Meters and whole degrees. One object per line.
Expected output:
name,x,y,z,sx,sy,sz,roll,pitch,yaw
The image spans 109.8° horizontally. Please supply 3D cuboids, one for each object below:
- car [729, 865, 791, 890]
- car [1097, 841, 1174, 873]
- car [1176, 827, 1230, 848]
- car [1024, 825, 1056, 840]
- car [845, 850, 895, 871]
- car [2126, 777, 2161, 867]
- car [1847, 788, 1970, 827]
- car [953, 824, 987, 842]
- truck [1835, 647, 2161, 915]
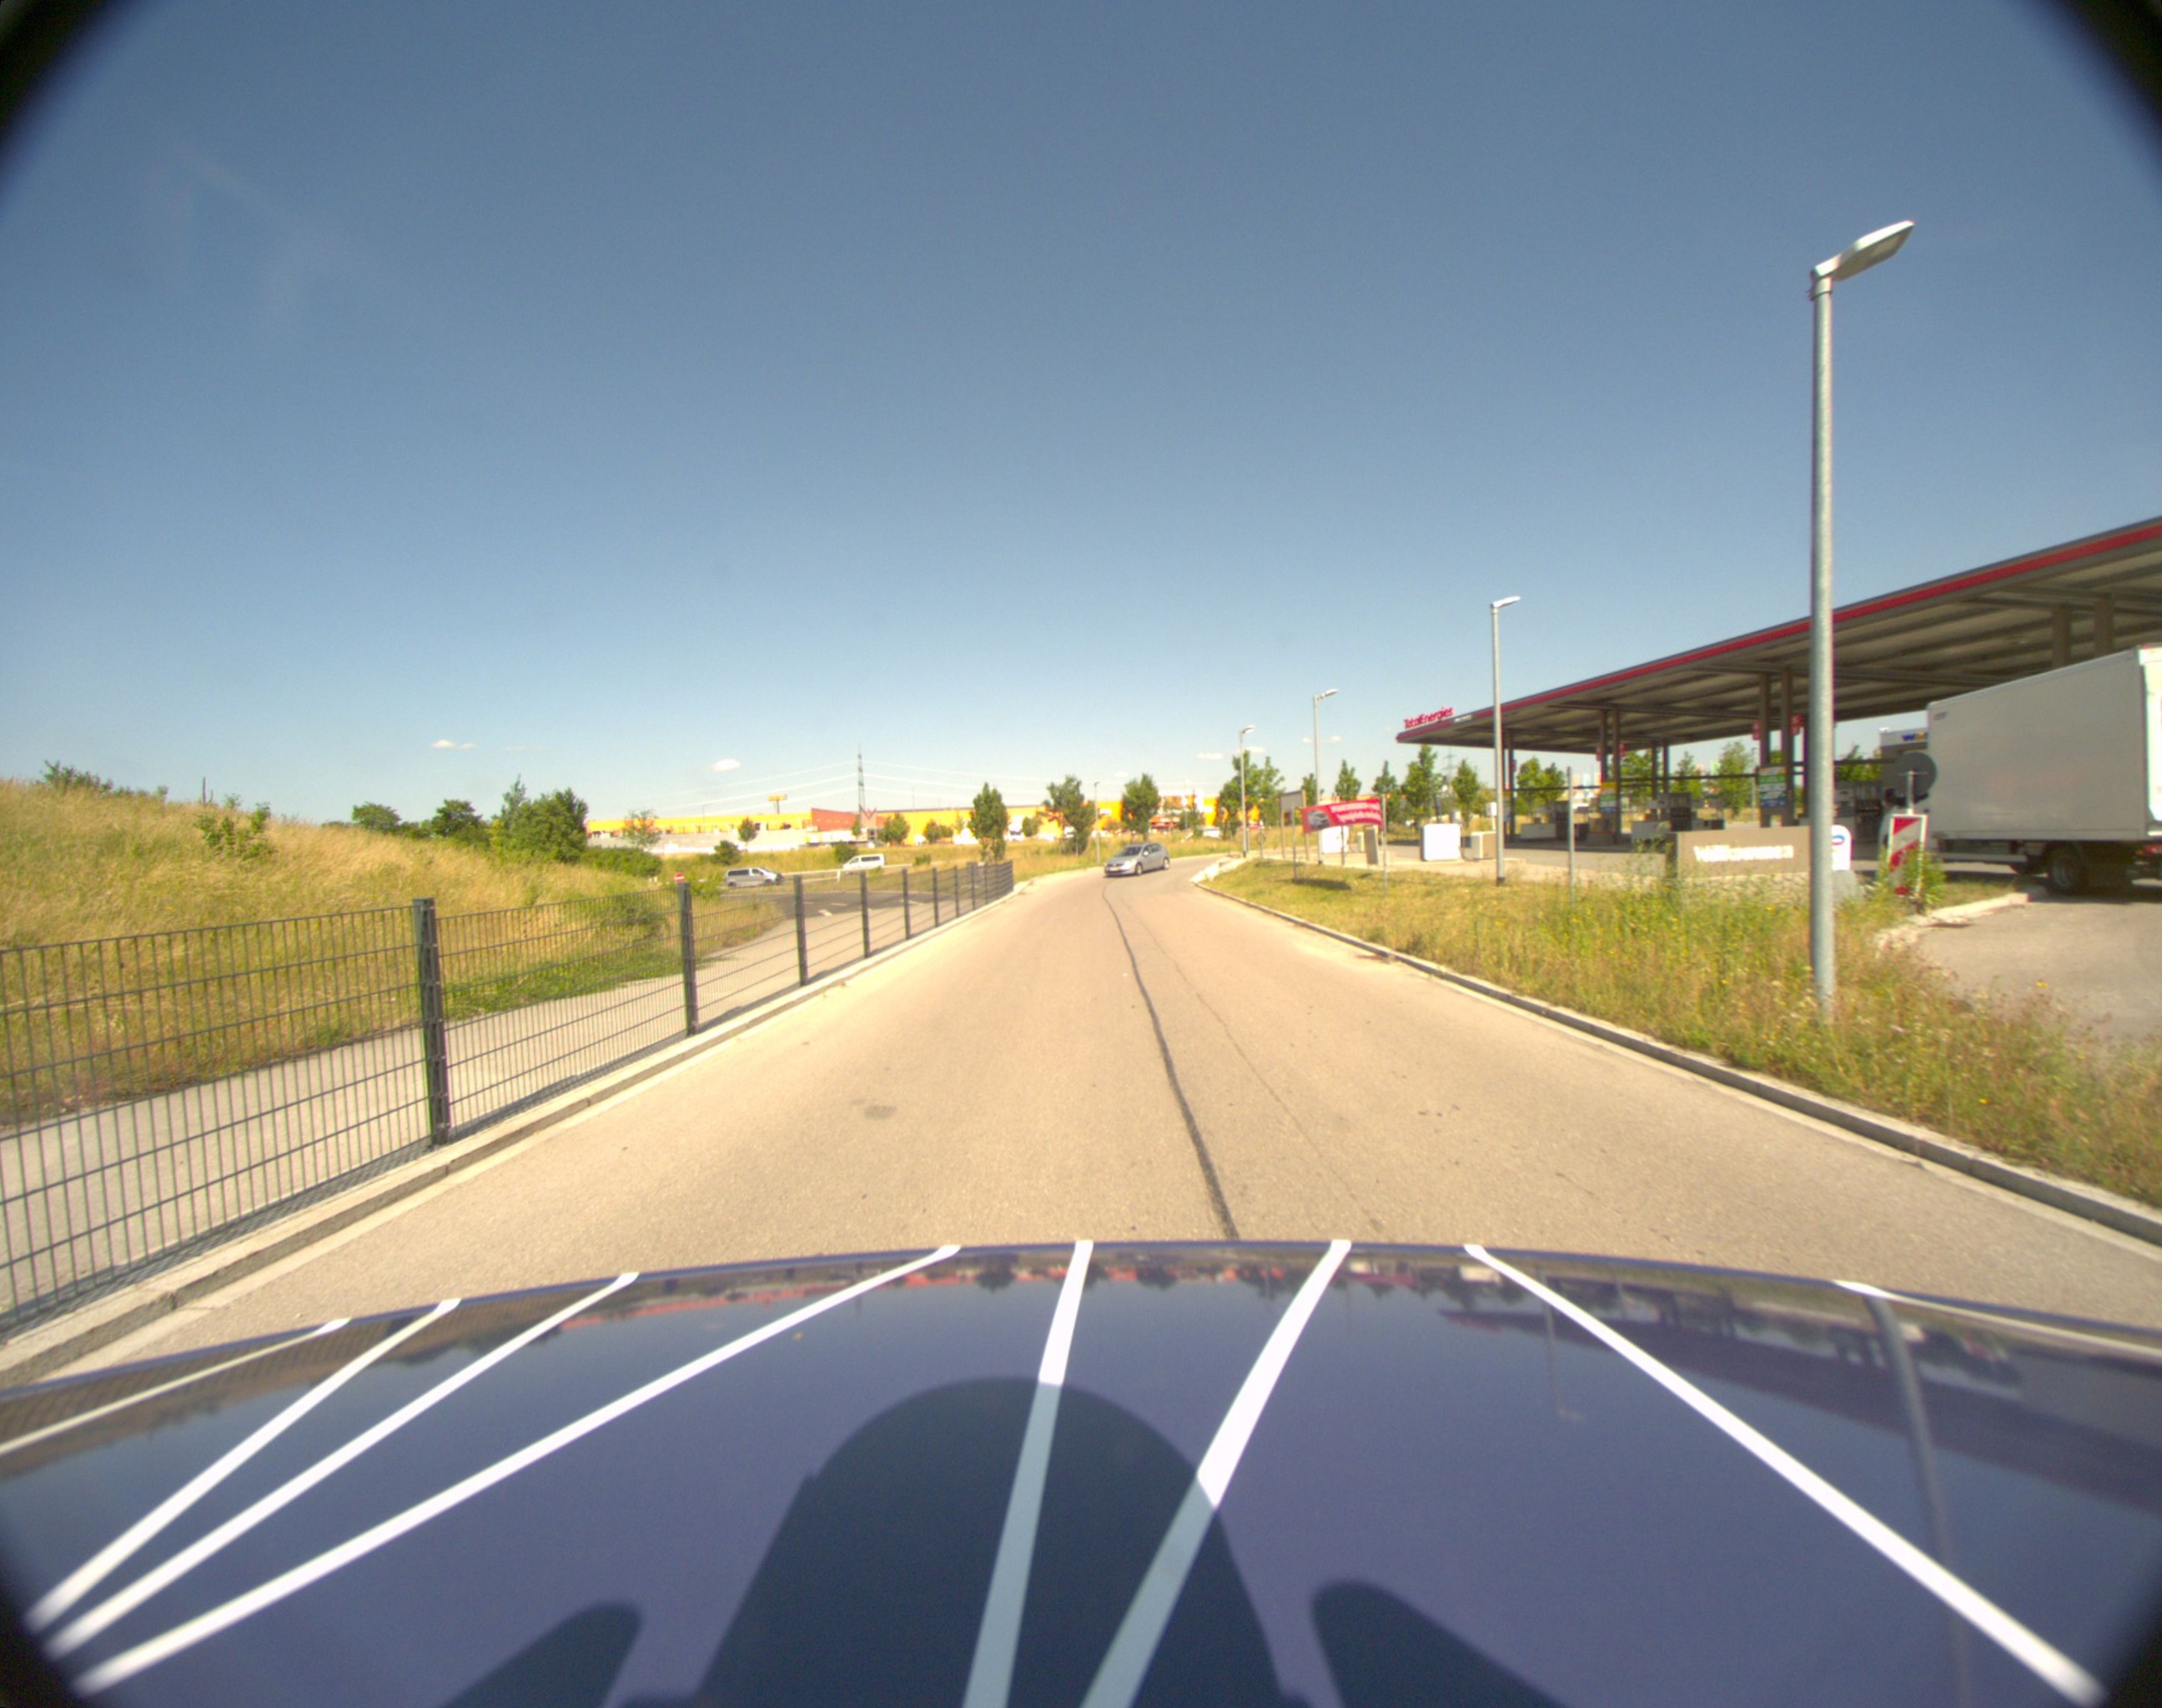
car,-29.155,2.129,69.172,4.757,2.002,1.999,-3,1,-5
car,2.714,0.126,37.248,1.742,1.459,3.969,1,1,41
car,13.085,-1.721,81.571,5.253,2.002,1.999,-3,1,-5
car,-6.158,-3.212,112.784,4.635,2.002,1.999,-3,1,-4
car,-22.045,0.677,79.649,4.634,2.002,1.999,-3,1,-4
car,23.330,-0.727,14.544,4.519,1.748,1.795,-3,1,-4
car,38.853,-2.151,35.733,3.934,1.565,1.795,-3,1,-3
car,-16.403,-3.092,112.500,4.635,2.534,1.999,-3,1,-4
truck,15.411,-1.016,11.590,2.636,3.299,6.913,-2,1,18
